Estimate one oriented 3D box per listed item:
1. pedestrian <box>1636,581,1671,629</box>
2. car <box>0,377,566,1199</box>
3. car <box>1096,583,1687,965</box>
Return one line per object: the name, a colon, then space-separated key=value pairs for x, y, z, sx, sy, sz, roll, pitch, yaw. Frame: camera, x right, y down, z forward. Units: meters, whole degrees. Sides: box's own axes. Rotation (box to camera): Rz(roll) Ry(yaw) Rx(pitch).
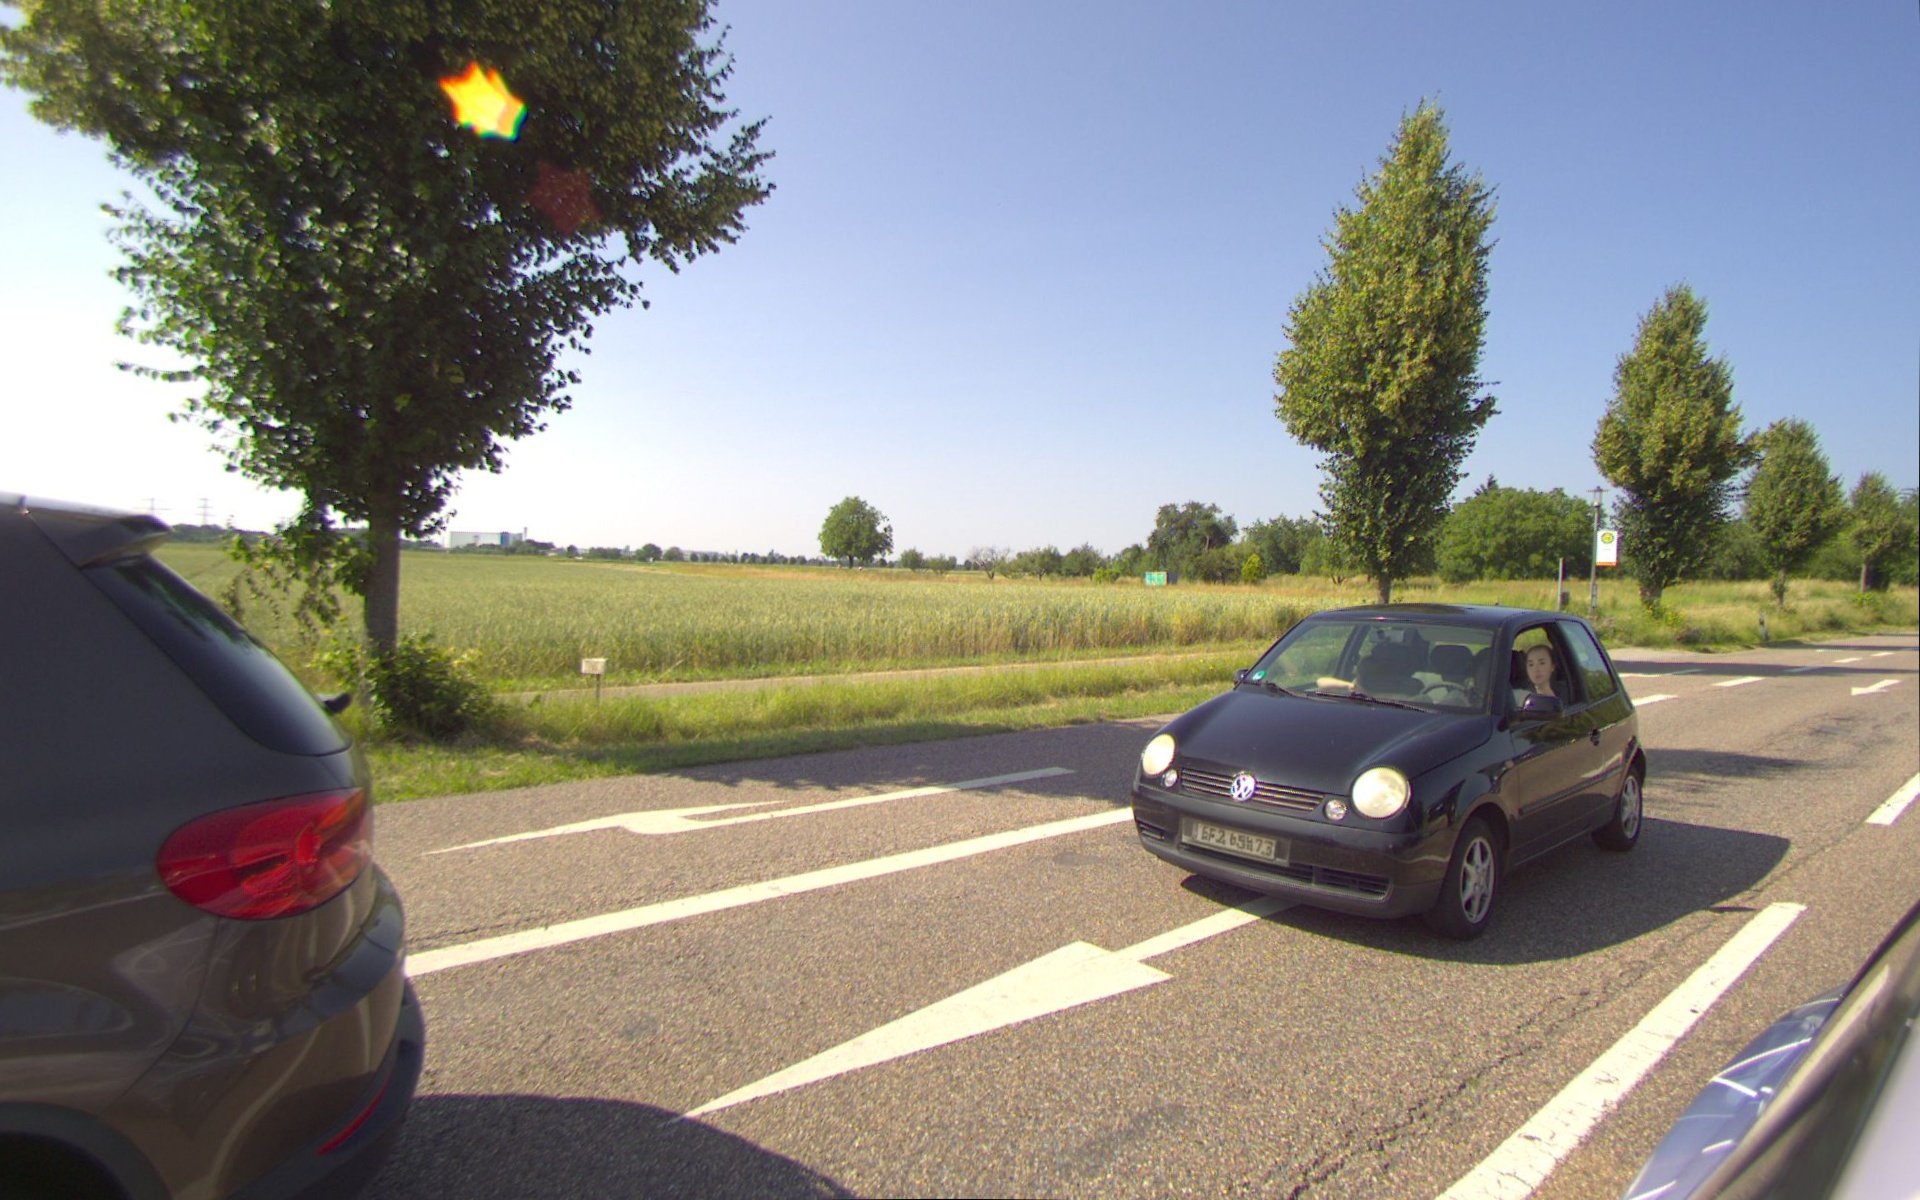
pedestrian: x=28.208 y=0.197 z=41.149 sx=1.174 sy=1.862 sz=0.903 roll=0 pitch=2 yaw=-43
car: x=-2.790 y=0.551 z=1.093 sx=4.075 sy=1.676 sz=1.758 roll=0 pitch=0 yaw=-42
car: x=2.560 y=0.650 z=5.632 sx=3.559 sy=1.451 sz=1.628 roll=0 pitch=0 yaw=-41
